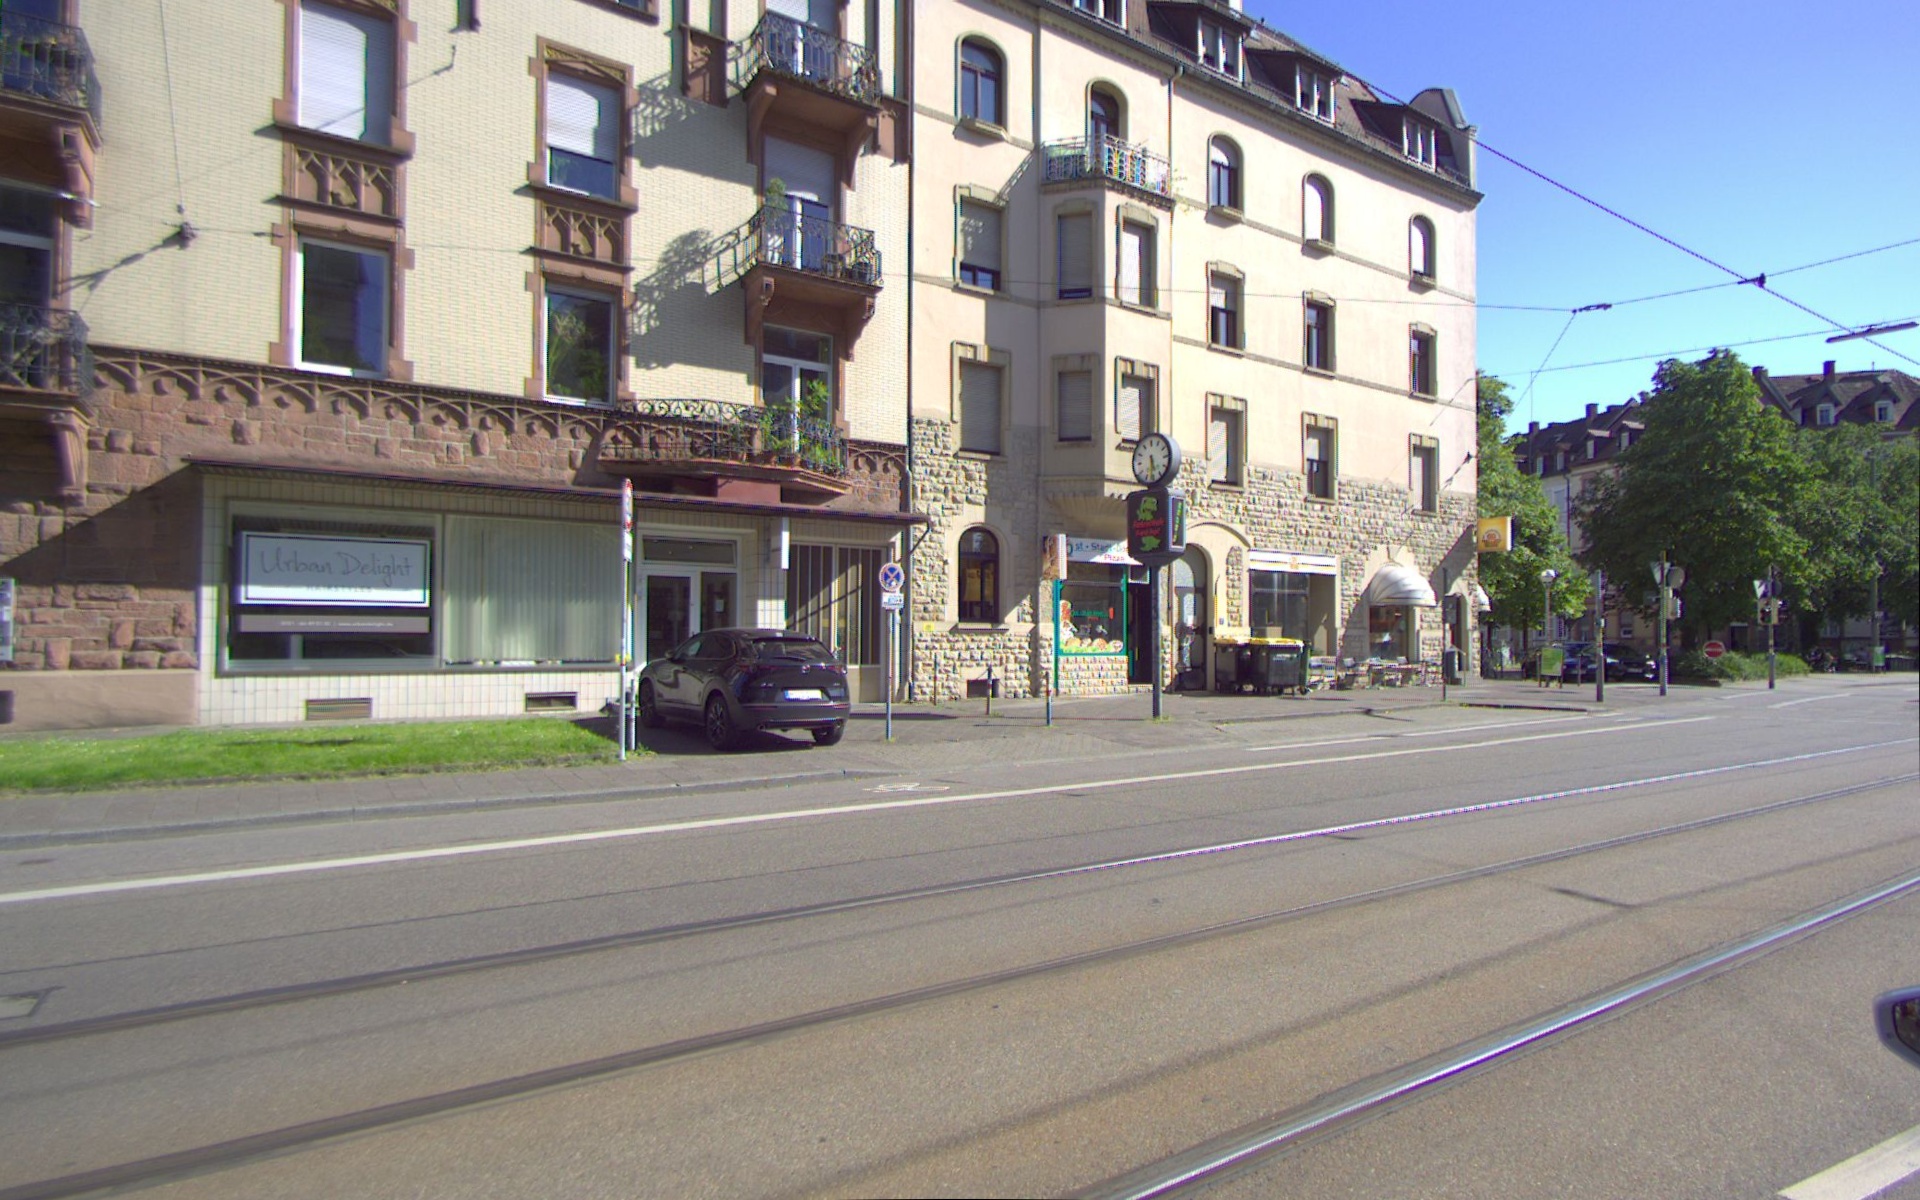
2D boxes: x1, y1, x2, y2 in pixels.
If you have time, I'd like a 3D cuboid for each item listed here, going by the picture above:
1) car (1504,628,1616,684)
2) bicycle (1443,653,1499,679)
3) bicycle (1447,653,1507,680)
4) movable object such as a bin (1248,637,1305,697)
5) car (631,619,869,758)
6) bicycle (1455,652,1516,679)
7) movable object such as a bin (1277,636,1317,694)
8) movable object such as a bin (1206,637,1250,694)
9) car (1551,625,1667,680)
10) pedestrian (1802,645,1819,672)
[{"bbox_3d":[23.719,2.168,39.891,1.961,2.040,3.999,1,-1,-2],"label":"car"},{"bbox_3d":[21.119,2.708,41.530,1.997,0.993,0.611,1,-1,7],"label":"bicycle"},{"bbox_3d":[20.575,2.623,39.997,1.997,0.993,0.611,1,-1,7],"label":"bicycle"},{"bbox_3d":[7.649,1.614,24.291,1.012,1.399,0.854,2,-1,-19],"label":"movable object such as a bin"},{"bbox_3d":[-3.114,1.141,14.293,1.756,1.523,3.957,3,0,-37],"label":"car"},{"bbox_3d":[20.502,2.556,39.204,1.997,0.993,0.611,1,-1,7],"label":"bicycle"},{"bbox_3d":[8.455,1.623,25.249,0.840,1.399,1.028,1,-1,14],"label":"movable object such as a bin"},{"bbox_3d":[6.538,1.600,24.541,0.647,1.343,0.854,2,-1,-20],"label":"movable object such as a bin"},{"bbox_3d":[25.956,2.063,40.345,1.961,2.040,3.999,1,-1,-2],"label":"car"},{"bbox_3d":[39.519,2.714,46.673,0.570,1.217,0.605,-2,-3,39],"label":"pedestrian"}]
